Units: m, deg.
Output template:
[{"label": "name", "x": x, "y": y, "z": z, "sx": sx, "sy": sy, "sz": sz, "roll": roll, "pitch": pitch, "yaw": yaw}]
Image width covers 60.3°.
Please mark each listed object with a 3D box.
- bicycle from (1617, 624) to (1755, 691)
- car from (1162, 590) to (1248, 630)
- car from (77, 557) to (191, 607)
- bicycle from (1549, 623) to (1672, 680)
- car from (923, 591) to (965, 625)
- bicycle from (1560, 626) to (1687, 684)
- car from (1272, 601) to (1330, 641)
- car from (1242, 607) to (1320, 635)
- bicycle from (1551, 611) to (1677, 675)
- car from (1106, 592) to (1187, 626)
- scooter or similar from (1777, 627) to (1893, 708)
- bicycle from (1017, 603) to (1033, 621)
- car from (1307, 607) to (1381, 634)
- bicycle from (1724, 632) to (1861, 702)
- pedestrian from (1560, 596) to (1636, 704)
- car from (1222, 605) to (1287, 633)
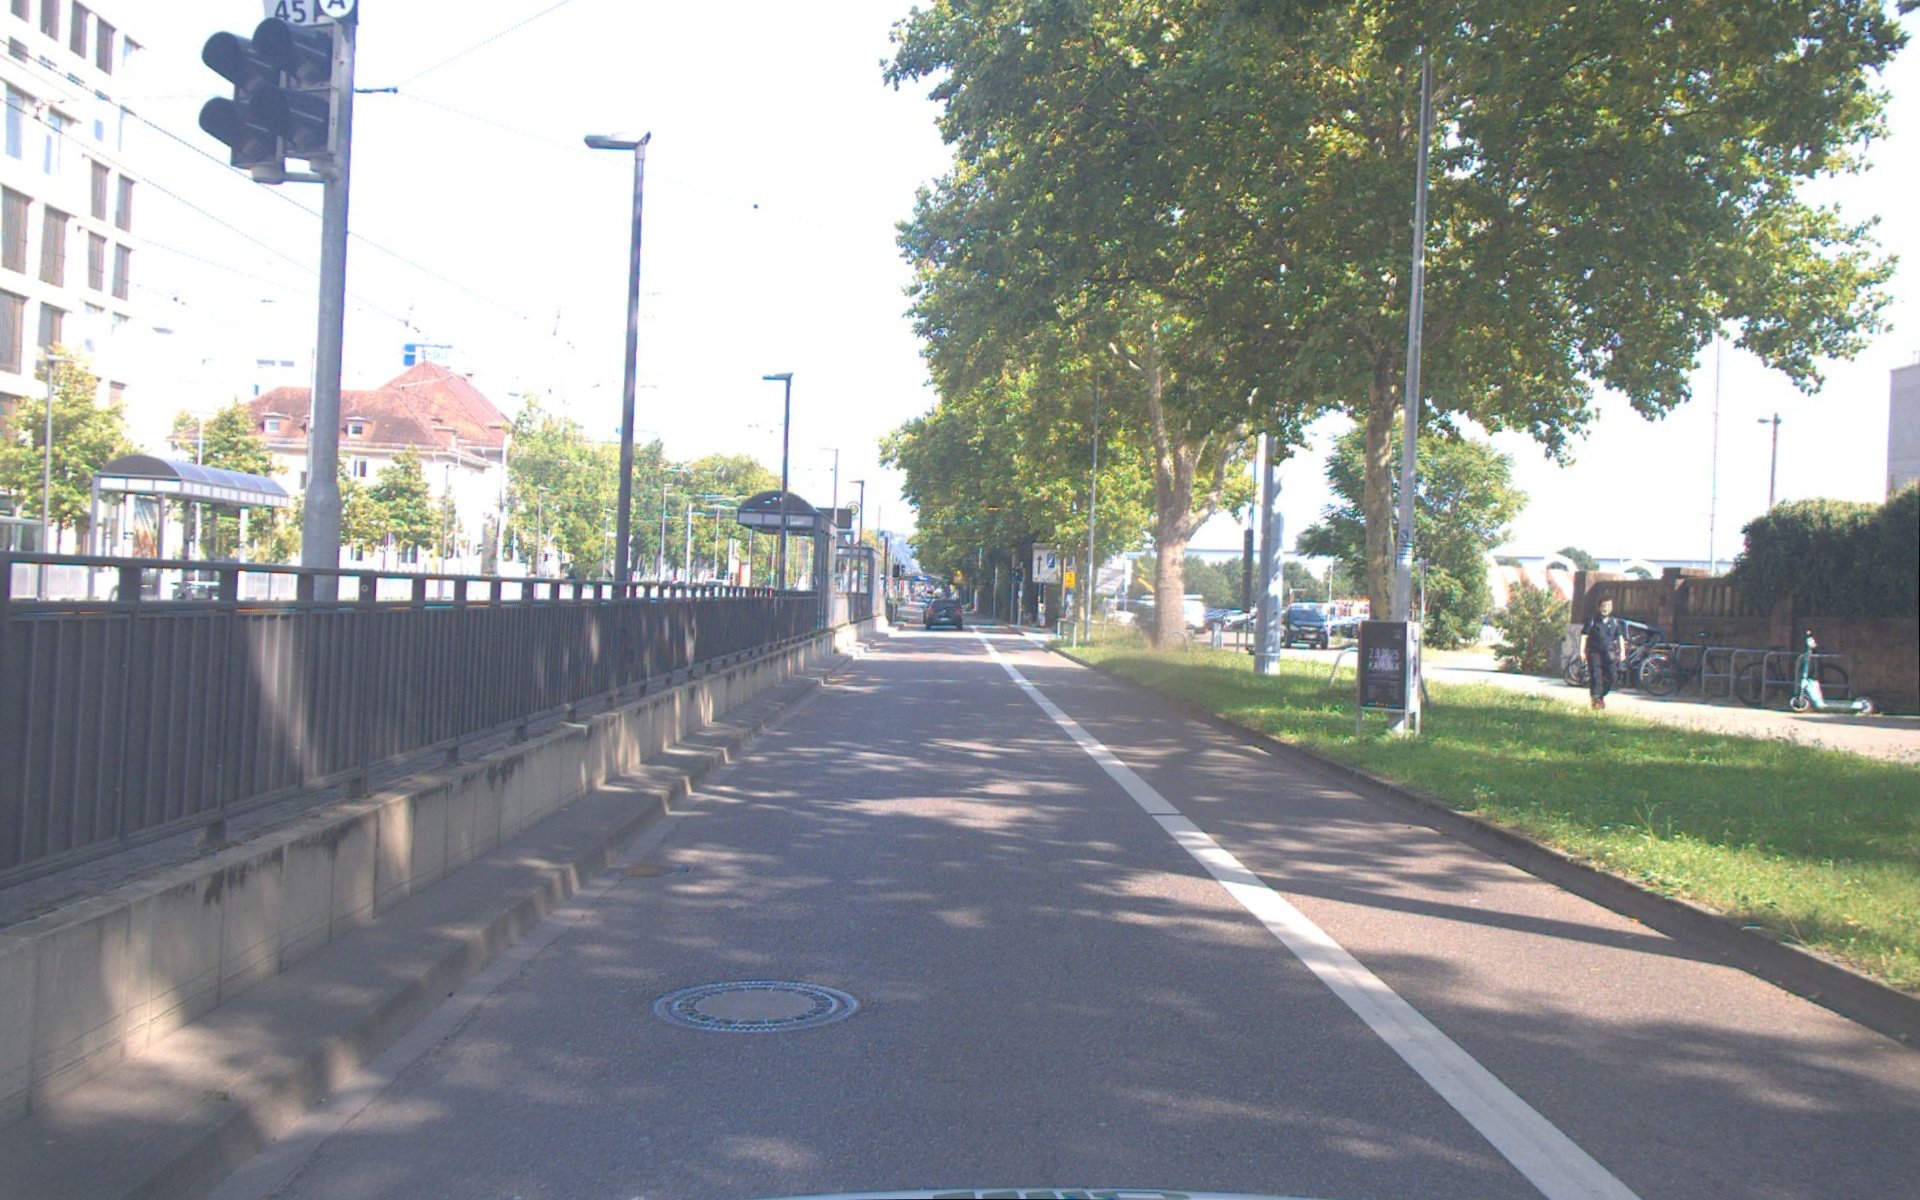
[{"label": "bicycle", "x": 12.987, "y": 1.020, "z": 29.600, "sx": 2.130, "sy": 1.095, "sz": 0.743, "roll": 2, "pitch": 0, "yaw": -3}, {"label": "car", "x": 12.118, "y": 0.492, "z": 82.016, "sx": 4.018, "sy": 1.952, "sz": 1.848, "roll": 1, "pitch": 0, "yaw": 2}, {"label": "car", "x": -25.839, "y": -0.548, "z": 51.888, "sx": 1.676, "sy": 1.471, "sz": 4.006, "roll": 1, "pitch": 0, "yaw": -3}, {"label": "bicycle", "x": 12.825, "y": 1.007, "z": 32.636, "sx": 2.128, "sy": 1.095, "sz": 0.743, "roll": 0, "pitch": 0, "yaw": 2}, {"label": "car", "x": -0.787, "y": 0.349, "z": 78.692, "sx": 1.869, "sy": 1.564, "sz": 3.998, "roll": 0, "pitch": 0, "yaw": -2}, {"label": "bicycle", "x": 12.750, "y": 1.055, "z": 31.825, "sx": 2.128, "sy": 1.095, "sz": 0.743, "roll": 0, "pitch": 0, "yaw": 2}, {"label": "car", "x": 14.386, "y": 0.868, "z": 69.983, "sx": 1.575, "sy": 1.603, "sz": 3.795, "roll": 1, "pitch": 0, "yaw": -1}, {"label": "car", "x": 19.566, "y": 1.279, "z": 100.828, "sx": 4.257, "sy": 1.489, "sz": 1.946, "roll": 3, "pitch": 0, "yaw": -3}, {"label": "bicycle", "x": 13.475, "y": 0.887, "z": 34.140, "sx": 2.199, "sy": 1.299, "sz": 0.998, "roll": 0, "pitch": -1, "yaw": -2}, {"label": "car", "x": 9.808, "y": 0.465, "z": 87.116, "sx": 3.907, "sy": 1.614, "sz": 1.999, "roll": 3, "pitch": 0, "yaw": -2}, {"label": "scooter or similar", "x": 13.380, "y": 1.026, "z": 25.304, "sx": 1.474, "sy": 1.212, "sz": 0.539, "roll": 1, "pitch": -1, "yaw": 2}, {"label": "bicycle", "x": 3.835, "y": 0.706, "z": 97.360, "sx": 0.598, "sy": 1.039, "sz": 2.400, "roll": 2, "pitch": 0, "yaw": -5}, {"label": "car", "x": 24.914, "y": 1.309, "z": 107.337, "sx": 4.257, "sy": 1.489, "sz": 1.946, "roll": 3, "pitch": 0, "yaw": -3}, {"label": "bicycle", "x": 13.322, "y": 1.071, "z": 26.492, "sx": 1.830, "sy": 1.024, "sz": 0.734, "roll": 2, "pitch": 0, "yaw": -3}, {"label": "pedestrian", "x": 9.419, "y": 0.727, "z": 24.449, "sx": 0.768, "sy": 1.541, "sz": 0.786, "roll": 2, "pitch": 0, "yaw": -2}, {"label": "car", "x": 21.184, "y": 1.351, "z": 118.979, "sx": 4.257, "sy": 1.742, "sz": 1.946, "roll": 3, "pitch": 0, "yaw": -3}]
